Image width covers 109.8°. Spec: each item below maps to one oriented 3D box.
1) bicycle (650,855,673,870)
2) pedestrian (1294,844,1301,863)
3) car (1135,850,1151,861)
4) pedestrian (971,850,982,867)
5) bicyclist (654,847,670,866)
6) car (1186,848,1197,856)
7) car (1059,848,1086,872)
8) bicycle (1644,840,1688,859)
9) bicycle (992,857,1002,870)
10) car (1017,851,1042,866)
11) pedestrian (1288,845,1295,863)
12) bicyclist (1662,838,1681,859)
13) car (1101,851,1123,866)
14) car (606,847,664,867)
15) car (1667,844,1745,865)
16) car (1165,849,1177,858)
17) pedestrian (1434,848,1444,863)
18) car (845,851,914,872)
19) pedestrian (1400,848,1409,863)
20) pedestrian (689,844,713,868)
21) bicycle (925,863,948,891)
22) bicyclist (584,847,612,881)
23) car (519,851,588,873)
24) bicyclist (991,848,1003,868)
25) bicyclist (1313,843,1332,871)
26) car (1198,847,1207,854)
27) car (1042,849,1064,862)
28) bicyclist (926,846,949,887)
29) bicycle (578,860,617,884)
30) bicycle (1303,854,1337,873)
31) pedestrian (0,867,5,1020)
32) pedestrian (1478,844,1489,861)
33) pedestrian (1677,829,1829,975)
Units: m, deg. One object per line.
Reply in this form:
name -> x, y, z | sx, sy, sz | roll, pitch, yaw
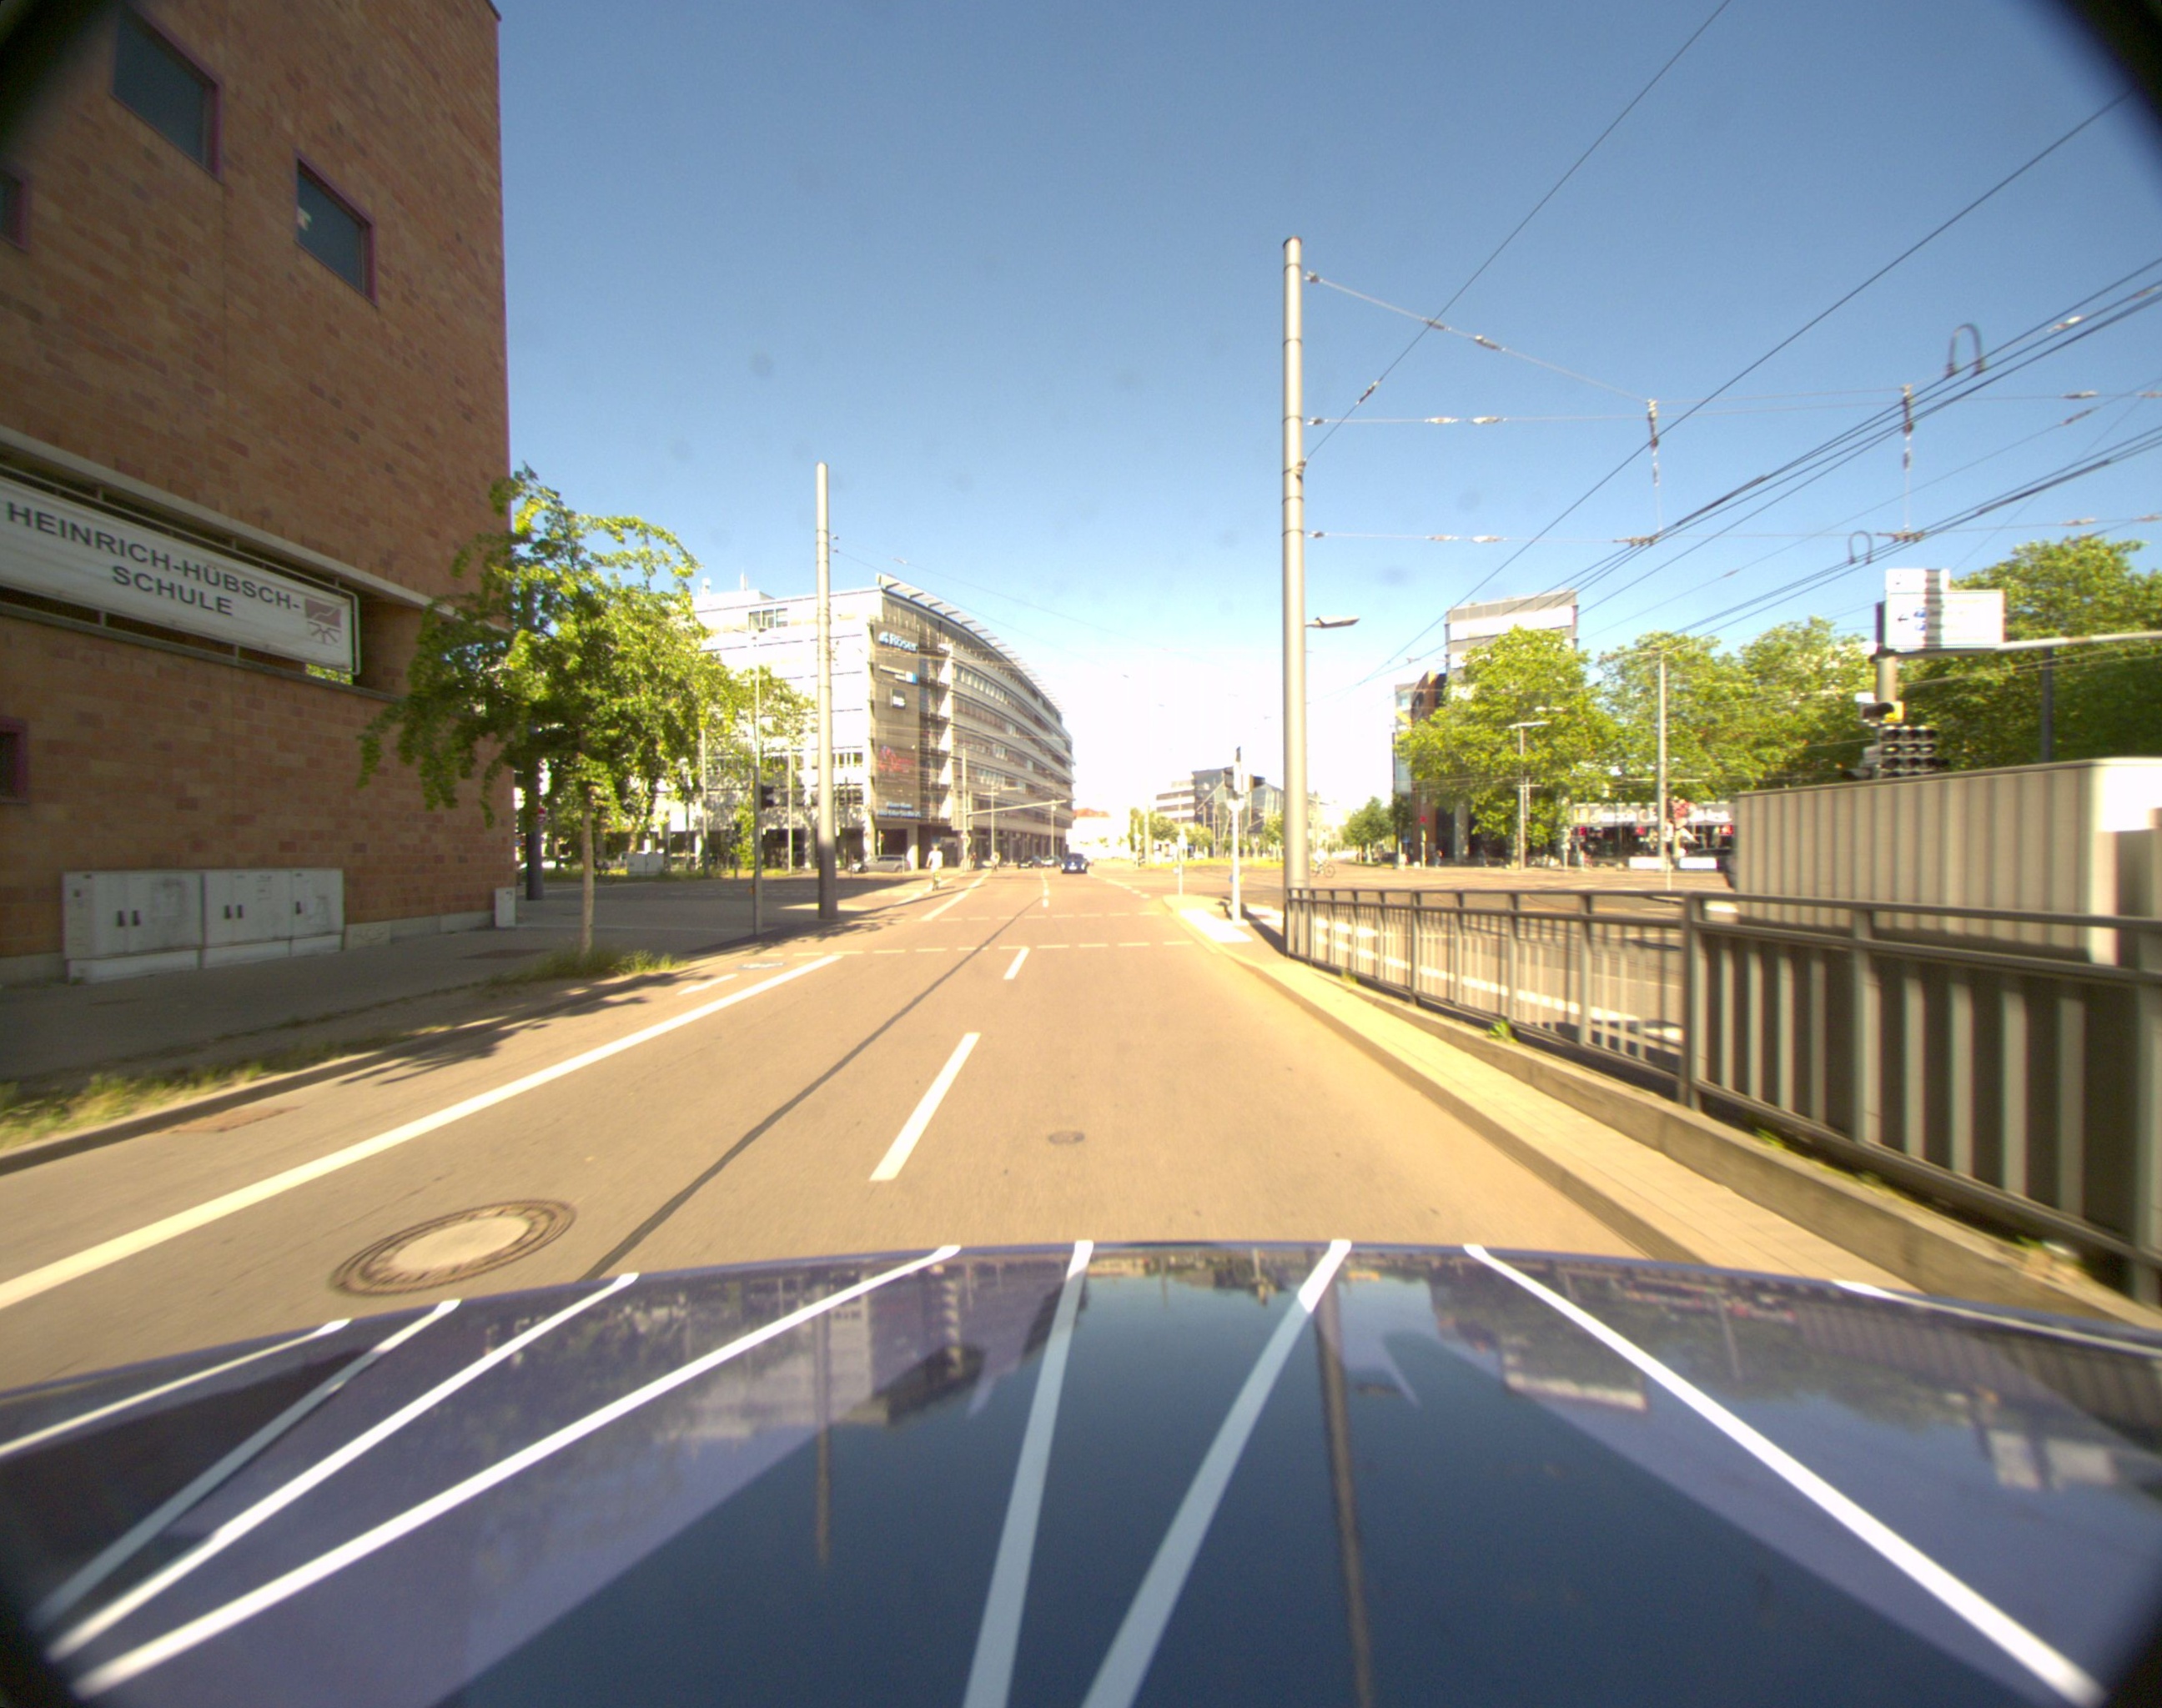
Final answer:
bicycle -> -32.065, 0.629, 58.100 | 1.541, 1.141, 0.481 | 0, 1, 4
pedestrian -> 19.936, -0.053, 70.016 | 0.580, 1.669, 0.548 | 0, 1, 14
car -> 8.921, 0.238, 108.813 | 1.882, 1.456, 4.002 | -2, 1, 10
pedestrian -> -10.162, 0.432, 73.806 | 0.858, 1.678, 0.802 | 0, 1, 15
bicyclist -> -31.999, 0.191, 58.070 | 0.761, 1.400, 0.756 | 0, 1, 5
car -> 22.454, -0.346, 154.044 | 1.953, 1.456, 4.002 | -2, 1, 10
car -> -0.580, 0.432, 57.794 | 1.802, 1.597, 4.000 | -2, 1, 2
bicycle -> 49.168, -0.376, 63.928 | 2.844, 1.528, 0.904 | 0, 1, 8
bicycle -> -7.077, 0.792, 64.042 | 0.578, 1.090, 1.507 | -2, 1, 5
car -> -5.614, 0.479, 83.175 | 1.882, 1.456, 4.002 | -2, 1, 9
pedestrian -> 18.960, 0.031, 68.534 | 0.580, 1.625, 0.548 | 0, 1, 14
bicyclist -> 49.626, -0.464, 63.896 | 0.926, 1.798, 0.861 | 0, 1, 7
car -> 3.543, 0.489, 86.539 | 1.882, 1.456, 4.002 | -2, 1, 10
car -> -37.368, 0.245, 63.677 | 3.924, 1.668, 1.818 | 0, 1, 9
car -> 46.967, 0.035, 57.184 | 4.168, 1.499, 1.910 | 0, 1, 5
car -> 15.608, -0.120, 131.825 | 1.953, 1.456, 4.002 | -2, 1, 10
pedestrian -> 33.931, 0.125, 72.010 | 0.662, 1.389, 0.673 | 0, 1, 14
car -> -15.885, 0.582, 59.938 | 4.860, 1.549, 1.930 | -1, 1, -34
pedestrian -> 29.400, 0.159, 69.088 | 0.662, 1.389, 0.673 | 0, 1, 14
pedestrian -> -32.698, 0.150, 65.406 | 1.182, 2.002, 1.467 | 0, 1, 9
bicycle -> -6.197, 0.973, 32.607 | 0.578, 1.090, 1.507 | -2, 1, 4
bicyclist -> -23.969, 0.510, 37.696 | 0.936, 1.659, 0.685 | 0, 1, -5
car -> -41.111, 0.594, 59.244 | 4.244, 1.636, 1.937 | 0, 1, 11
bicyclist -> -7.093, 0.341, 64.027 | 0.755, 1.607, 0.762 | -2, 1, 5
bicyclist -> 14.256, 0.179, 44.883 | 0.847, 1.630, 0.780 | 1, 1, 40
car -> 26.733, -0.738, 167.102 | 1.953, 1.456, 4.002 | -2, 1, 10
car -> -3.445, 0.213, 93.434 | 1.882, 1.456, 4.002 | -2, 1, 9
bicyclist -> -6.167, 0.523, 32.649 | 0.684, 1.718, 0.909 | -2, 1, 2
bicycle -> -23.989, 0.881, 37.704 | 1.542, 1.140, 0.481 | -1, 1, -5
bicycle -> 14.137, 0.569, 44.941 | 1.836, 1.093, 0.639 | 0, 1, 40
pedestrian -> -11.584, 0.919, 7.394 | 0.790, 1.610, 0.976 | 0, 1, 0
pedestrian -> 37.862, -0.135, 71.428 | 0.780, 1.614, 0.673 | 0, 1, 14
pedestrian -> 8.156, 0.551, 9.285 | 0.960, 1.680, 1.007 | 0, 1, 4
